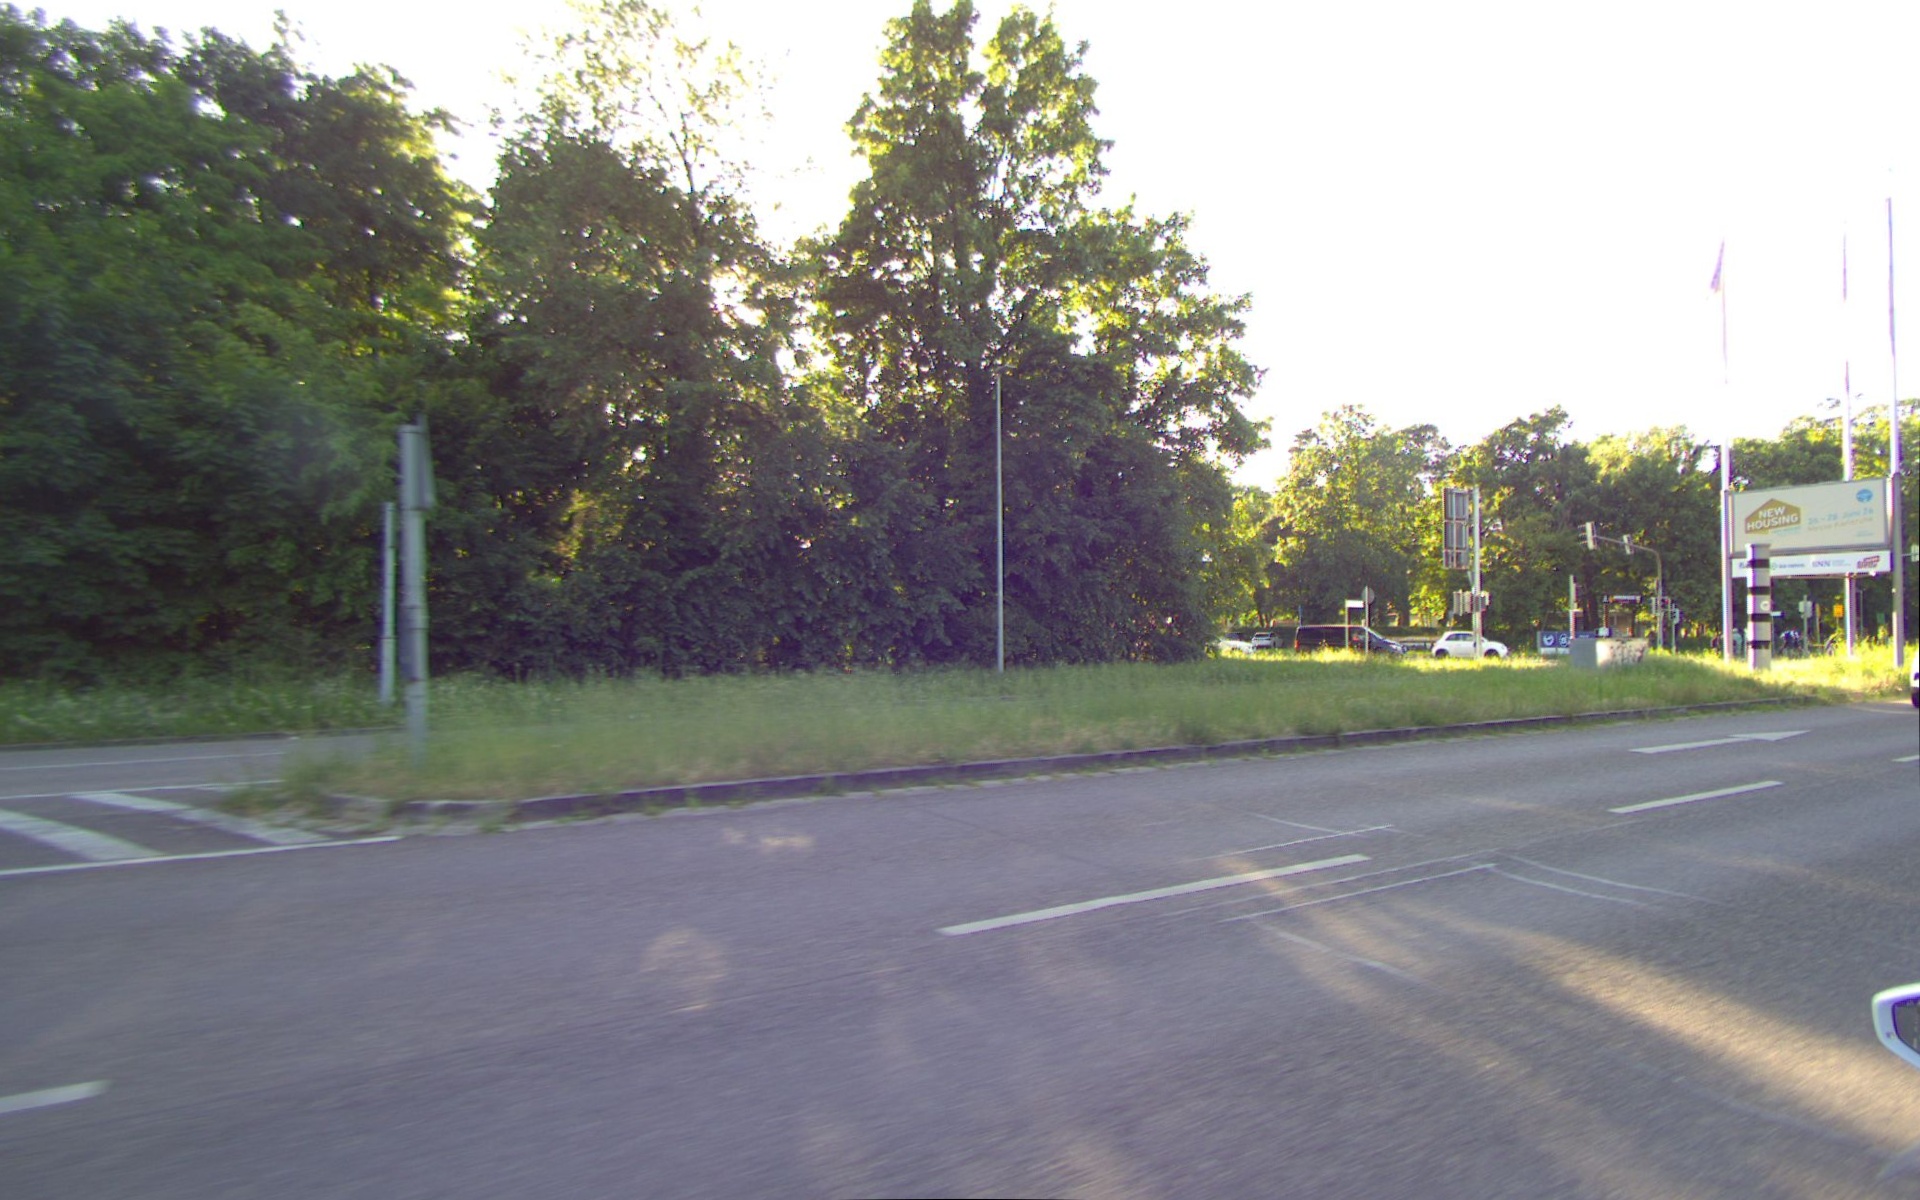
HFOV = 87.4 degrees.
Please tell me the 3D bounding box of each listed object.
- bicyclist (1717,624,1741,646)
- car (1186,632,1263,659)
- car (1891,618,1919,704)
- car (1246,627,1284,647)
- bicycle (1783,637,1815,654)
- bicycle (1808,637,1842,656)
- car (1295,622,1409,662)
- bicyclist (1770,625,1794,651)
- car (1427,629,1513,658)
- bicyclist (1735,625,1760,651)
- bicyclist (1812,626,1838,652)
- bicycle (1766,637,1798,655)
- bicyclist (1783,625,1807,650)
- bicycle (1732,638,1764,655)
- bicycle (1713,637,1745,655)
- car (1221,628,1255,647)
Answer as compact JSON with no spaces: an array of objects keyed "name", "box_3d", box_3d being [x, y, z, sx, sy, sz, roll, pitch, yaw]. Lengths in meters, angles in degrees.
[{"name":"bicyclist","box_3d":[42.601,1.946,55.638,0.978,1.208,0.712,1,-1,-28]},{"name":"car","box_3d":[14.499,2.479,55.130,3.735,1.407,1.849,-1,-2,33]},{"name":"car","box_3d":[18.305,1.074,17.684,3.955,1.463,1.853,1,-1,-32]},{"name":"car","box_3d":[25.774,3.135,84.757,1.784,1.621,4.182,-1,-2,36]},{"name":"bicycle","box_3d":[46.123,2.502,55.207,1.887,0.926,0.712,1,-2,-29]},{"name":"bicycle","box_3d":[45.223,2.428,52.520,1.887,0.926,0.712,1,-2,-29]},{"name":"car","box_3d":[18.858,1.985,48.397,4.850,1.854,1.923,-1,-2,33]},{"name":"bicyclist","box_3d":[44.331,2.037,54.176,0.978,1.373,0.712,1,-1,-28]},{"name":"car","box_3d":[26.194,2.218,51.630,3.735,1.407,1.923,-1,-2,33]},{"name":"bicyclist","box_3d":[42.965,2.044,54.802,0.978,1.408,0.707,1,-1,-28]},{"name":"bicyclist","box_3d":[45.275,2.030,52.554,0.978,1.356,0.712,1,-1,-28]},{"name":"bicycle","box_3d":[44.334,2.477,54.171,1.887,0.926,0.712,1,-2,-29]},{"name":"bicyclist","box_3d":[45.726,2.049,54.997,0.978,1.360,0.712,1,-1,-28]},{"name":"bicycle","box_3d":[42.997,2.533,54.806,1.887,0.926,0.712,1,-2,-29]},{"name":"bicycle","box_3d":[42.602,2.547,55.625,1.887,0.926,0.712,0,-1,-29]},{"name":"car","box_3d":[23.977,3.217,86.597,1.784,1.621,3.490,-1,-2,36]}]
